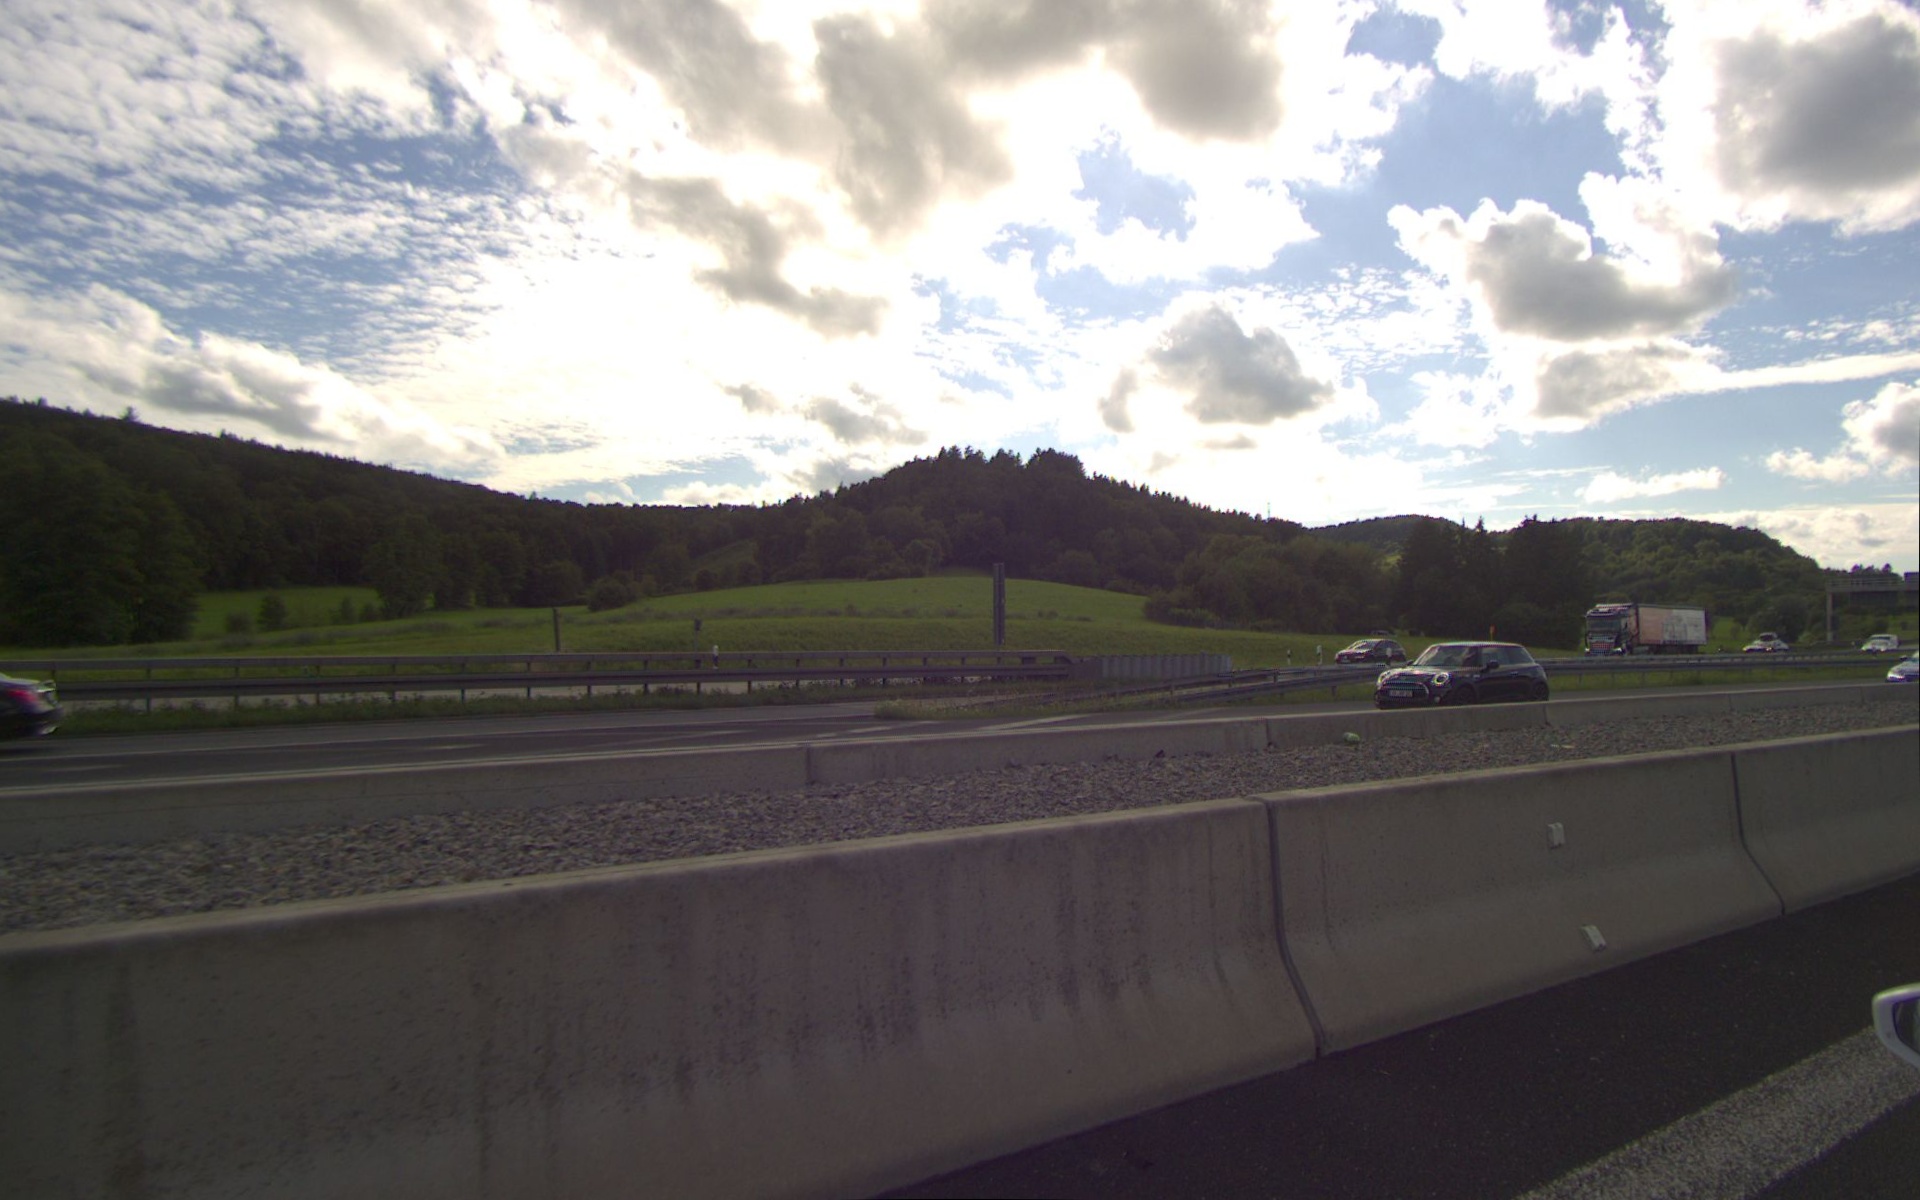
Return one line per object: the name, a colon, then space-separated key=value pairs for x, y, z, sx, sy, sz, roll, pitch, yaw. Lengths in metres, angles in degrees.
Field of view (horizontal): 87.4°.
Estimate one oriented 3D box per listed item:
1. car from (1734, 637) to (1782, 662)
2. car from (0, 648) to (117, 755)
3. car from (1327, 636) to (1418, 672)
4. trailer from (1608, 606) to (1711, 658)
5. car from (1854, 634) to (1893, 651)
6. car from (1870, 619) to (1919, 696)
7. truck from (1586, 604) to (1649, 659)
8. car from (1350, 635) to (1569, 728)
car: x=62.841 y=3.871 z=79.080 sx=4.356 sy=1.922 sz=1.761 roll=2 pitch=-3 yaw=-36
car: x=-15.036 y=1.393 z=13.826 sx=4.946 sy=1.470 sz=1.983 roll=2 pitch=-3 yaw=-32
car: x=19.663 y=2.551 z=47.805 sx=4.251 sy=1.639 sz=1.793 roll=2 pitch=-3 yaw=-30
trailer: x=53.513 y=2.507 z=76.622 sx=13.111 sy=3.785 sz=1.981 roll=2 pitch=-3 yaw=-35
car: x=78.930 y=3.651 z=86.774 sx=4.360 sy=1.418 sz=1.759 roll=2 pitch=-3 yaw=-38
car: x=22.911 y=1.285 z=22.714 sx=5.355 sy=1.639 sz=1.919 roll=2 pitch=-3 yaw=-30
truck: x=47.341 y=2.307 z=72.327 sx=5.098 sy=3.810 sz=1.981 roll=2 pitch=-3 yaw=-35
car: x=9.803 y=1.532 z=19.661 sx=4.251 sy=1.639 sz=1.793 roll=2 pitch=-3 yaw=-30
